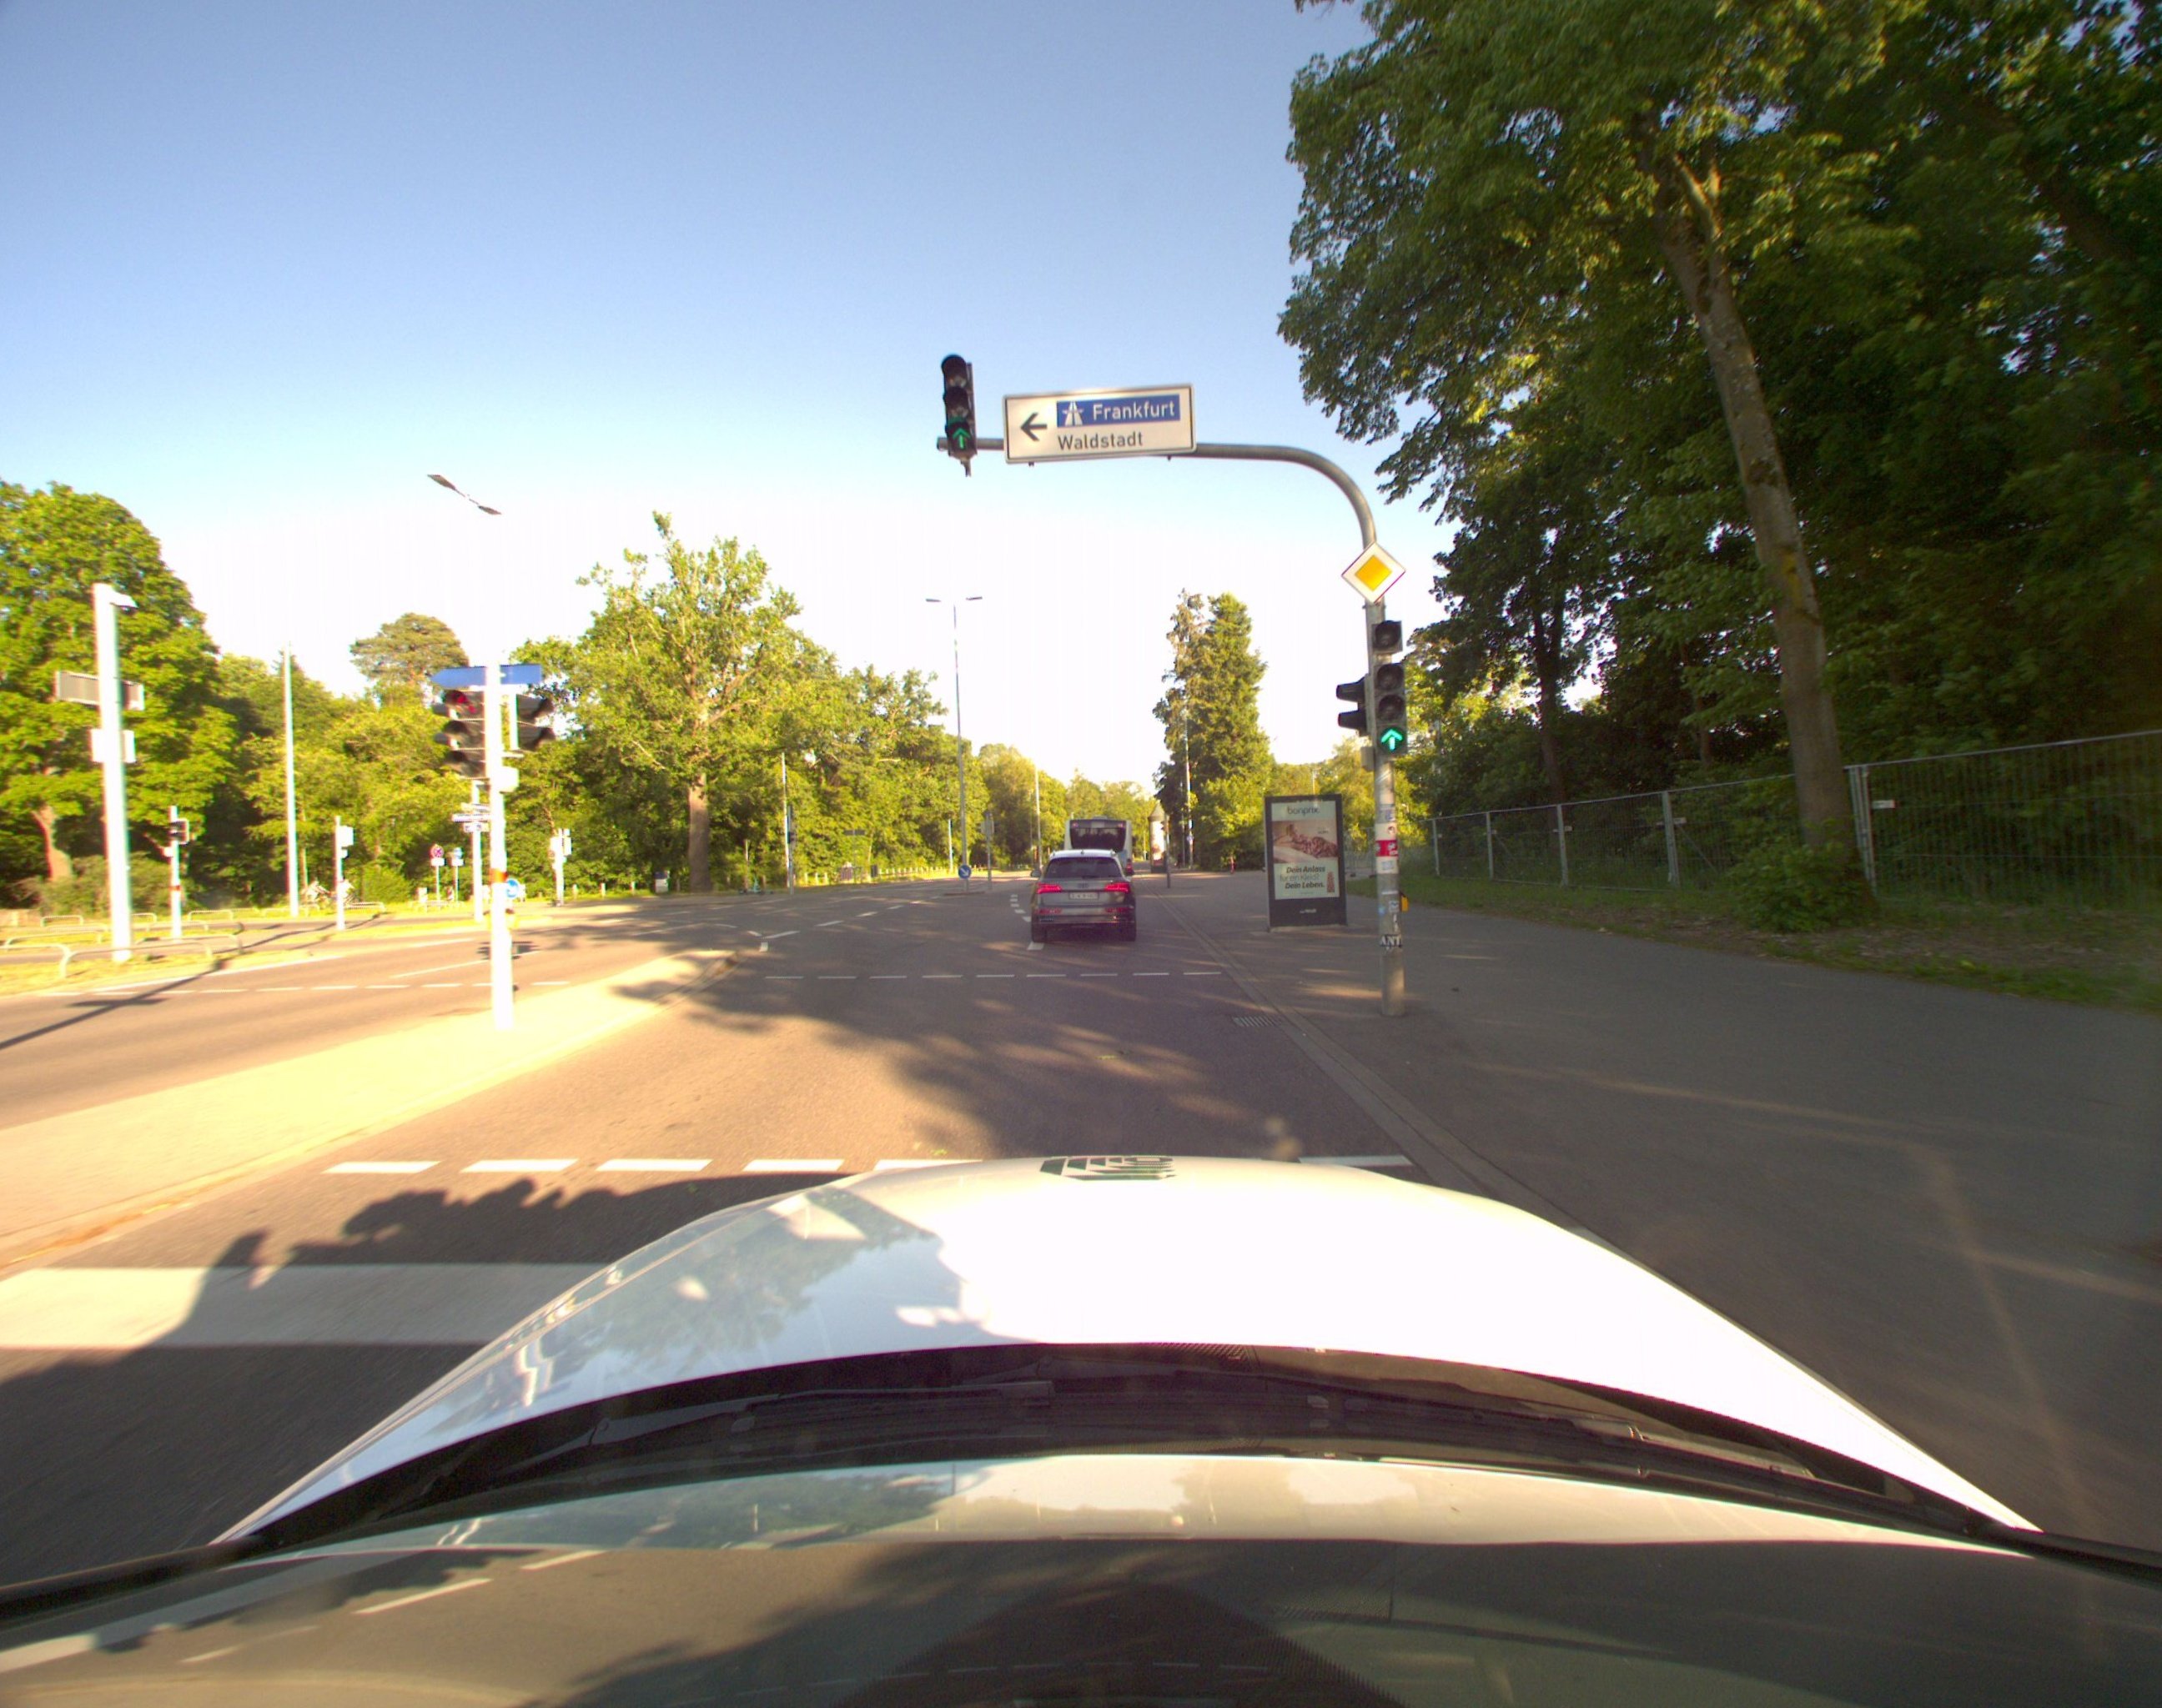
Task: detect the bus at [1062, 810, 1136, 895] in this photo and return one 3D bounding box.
[{"bbox_3d":[0.829,-0.014,35.676,2.679,3.042,12.045,-1,0,2],"label":"bus"}]

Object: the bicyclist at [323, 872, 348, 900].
[{"bbox_3d":[-40.033,1.696,43.736,0.790,1.483,0.734,-1,-1,24],"label":"bicyclist"}]

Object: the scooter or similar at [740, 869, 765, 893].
[{"bbox_3d":[-16.307,1.335,40.475,1.060,1.146,0.395,-2,0,9],"label":"scooter or similar"}]

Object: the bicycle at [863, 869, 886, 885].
[{"bbox_3d":[-16.477,1.848,64.993,0.674,1.154,1.995,-1,1,21],"label":"bicycle"}]

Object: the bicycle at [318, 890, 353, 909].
[{"bbox_3d":[-40.047,2.454,43.754,1.571,0.977,0.789,-1,-1,23],"label":"bicycle"}]

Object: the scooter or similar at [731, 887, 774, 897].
[{"bbox_3d":[-15.650,1.815,38.840,1.399,0.339,1.263,-2,1,10],"label":"scooter or similar"}]

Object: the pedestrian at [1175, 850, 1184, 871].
[{"bbox_3d":[7.898,0.499,65.502,0.622,1.688,0.885,-1,-1,11],"label":"pedestrian"}]

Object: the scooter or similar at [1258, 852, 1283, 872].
[{"bbox_3d":[11.987,0.516,51.480,1.424,1.167,0.396,-4,-2,31],"label":"scooter or similar"}]

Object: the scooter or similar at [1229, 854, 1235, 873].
[{"bbox_3d":[9.561,0.604,51.427,0.279,1.171,1.413,-3,0,11],"label":"scooter or similar"}]

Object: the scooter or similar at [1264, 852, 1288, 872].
[{"bbox_3d":[11.637,0.469,48.588,1.233,1.167,0.396,-3,-2,27],"label":"scooter or similar"}]

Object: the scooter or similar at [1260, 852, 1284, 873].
[{"bbox_3d":[11.280,0.493,48.071,1.258,1.147,0.395,-4,-2,9],"label":"scooter or similar"}]

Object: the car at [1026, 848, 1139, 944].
[{"bbox_3d":[0.089,0.720,16.040,1.886,1.605,4.546,-1,0,2],"label":"car"}]
